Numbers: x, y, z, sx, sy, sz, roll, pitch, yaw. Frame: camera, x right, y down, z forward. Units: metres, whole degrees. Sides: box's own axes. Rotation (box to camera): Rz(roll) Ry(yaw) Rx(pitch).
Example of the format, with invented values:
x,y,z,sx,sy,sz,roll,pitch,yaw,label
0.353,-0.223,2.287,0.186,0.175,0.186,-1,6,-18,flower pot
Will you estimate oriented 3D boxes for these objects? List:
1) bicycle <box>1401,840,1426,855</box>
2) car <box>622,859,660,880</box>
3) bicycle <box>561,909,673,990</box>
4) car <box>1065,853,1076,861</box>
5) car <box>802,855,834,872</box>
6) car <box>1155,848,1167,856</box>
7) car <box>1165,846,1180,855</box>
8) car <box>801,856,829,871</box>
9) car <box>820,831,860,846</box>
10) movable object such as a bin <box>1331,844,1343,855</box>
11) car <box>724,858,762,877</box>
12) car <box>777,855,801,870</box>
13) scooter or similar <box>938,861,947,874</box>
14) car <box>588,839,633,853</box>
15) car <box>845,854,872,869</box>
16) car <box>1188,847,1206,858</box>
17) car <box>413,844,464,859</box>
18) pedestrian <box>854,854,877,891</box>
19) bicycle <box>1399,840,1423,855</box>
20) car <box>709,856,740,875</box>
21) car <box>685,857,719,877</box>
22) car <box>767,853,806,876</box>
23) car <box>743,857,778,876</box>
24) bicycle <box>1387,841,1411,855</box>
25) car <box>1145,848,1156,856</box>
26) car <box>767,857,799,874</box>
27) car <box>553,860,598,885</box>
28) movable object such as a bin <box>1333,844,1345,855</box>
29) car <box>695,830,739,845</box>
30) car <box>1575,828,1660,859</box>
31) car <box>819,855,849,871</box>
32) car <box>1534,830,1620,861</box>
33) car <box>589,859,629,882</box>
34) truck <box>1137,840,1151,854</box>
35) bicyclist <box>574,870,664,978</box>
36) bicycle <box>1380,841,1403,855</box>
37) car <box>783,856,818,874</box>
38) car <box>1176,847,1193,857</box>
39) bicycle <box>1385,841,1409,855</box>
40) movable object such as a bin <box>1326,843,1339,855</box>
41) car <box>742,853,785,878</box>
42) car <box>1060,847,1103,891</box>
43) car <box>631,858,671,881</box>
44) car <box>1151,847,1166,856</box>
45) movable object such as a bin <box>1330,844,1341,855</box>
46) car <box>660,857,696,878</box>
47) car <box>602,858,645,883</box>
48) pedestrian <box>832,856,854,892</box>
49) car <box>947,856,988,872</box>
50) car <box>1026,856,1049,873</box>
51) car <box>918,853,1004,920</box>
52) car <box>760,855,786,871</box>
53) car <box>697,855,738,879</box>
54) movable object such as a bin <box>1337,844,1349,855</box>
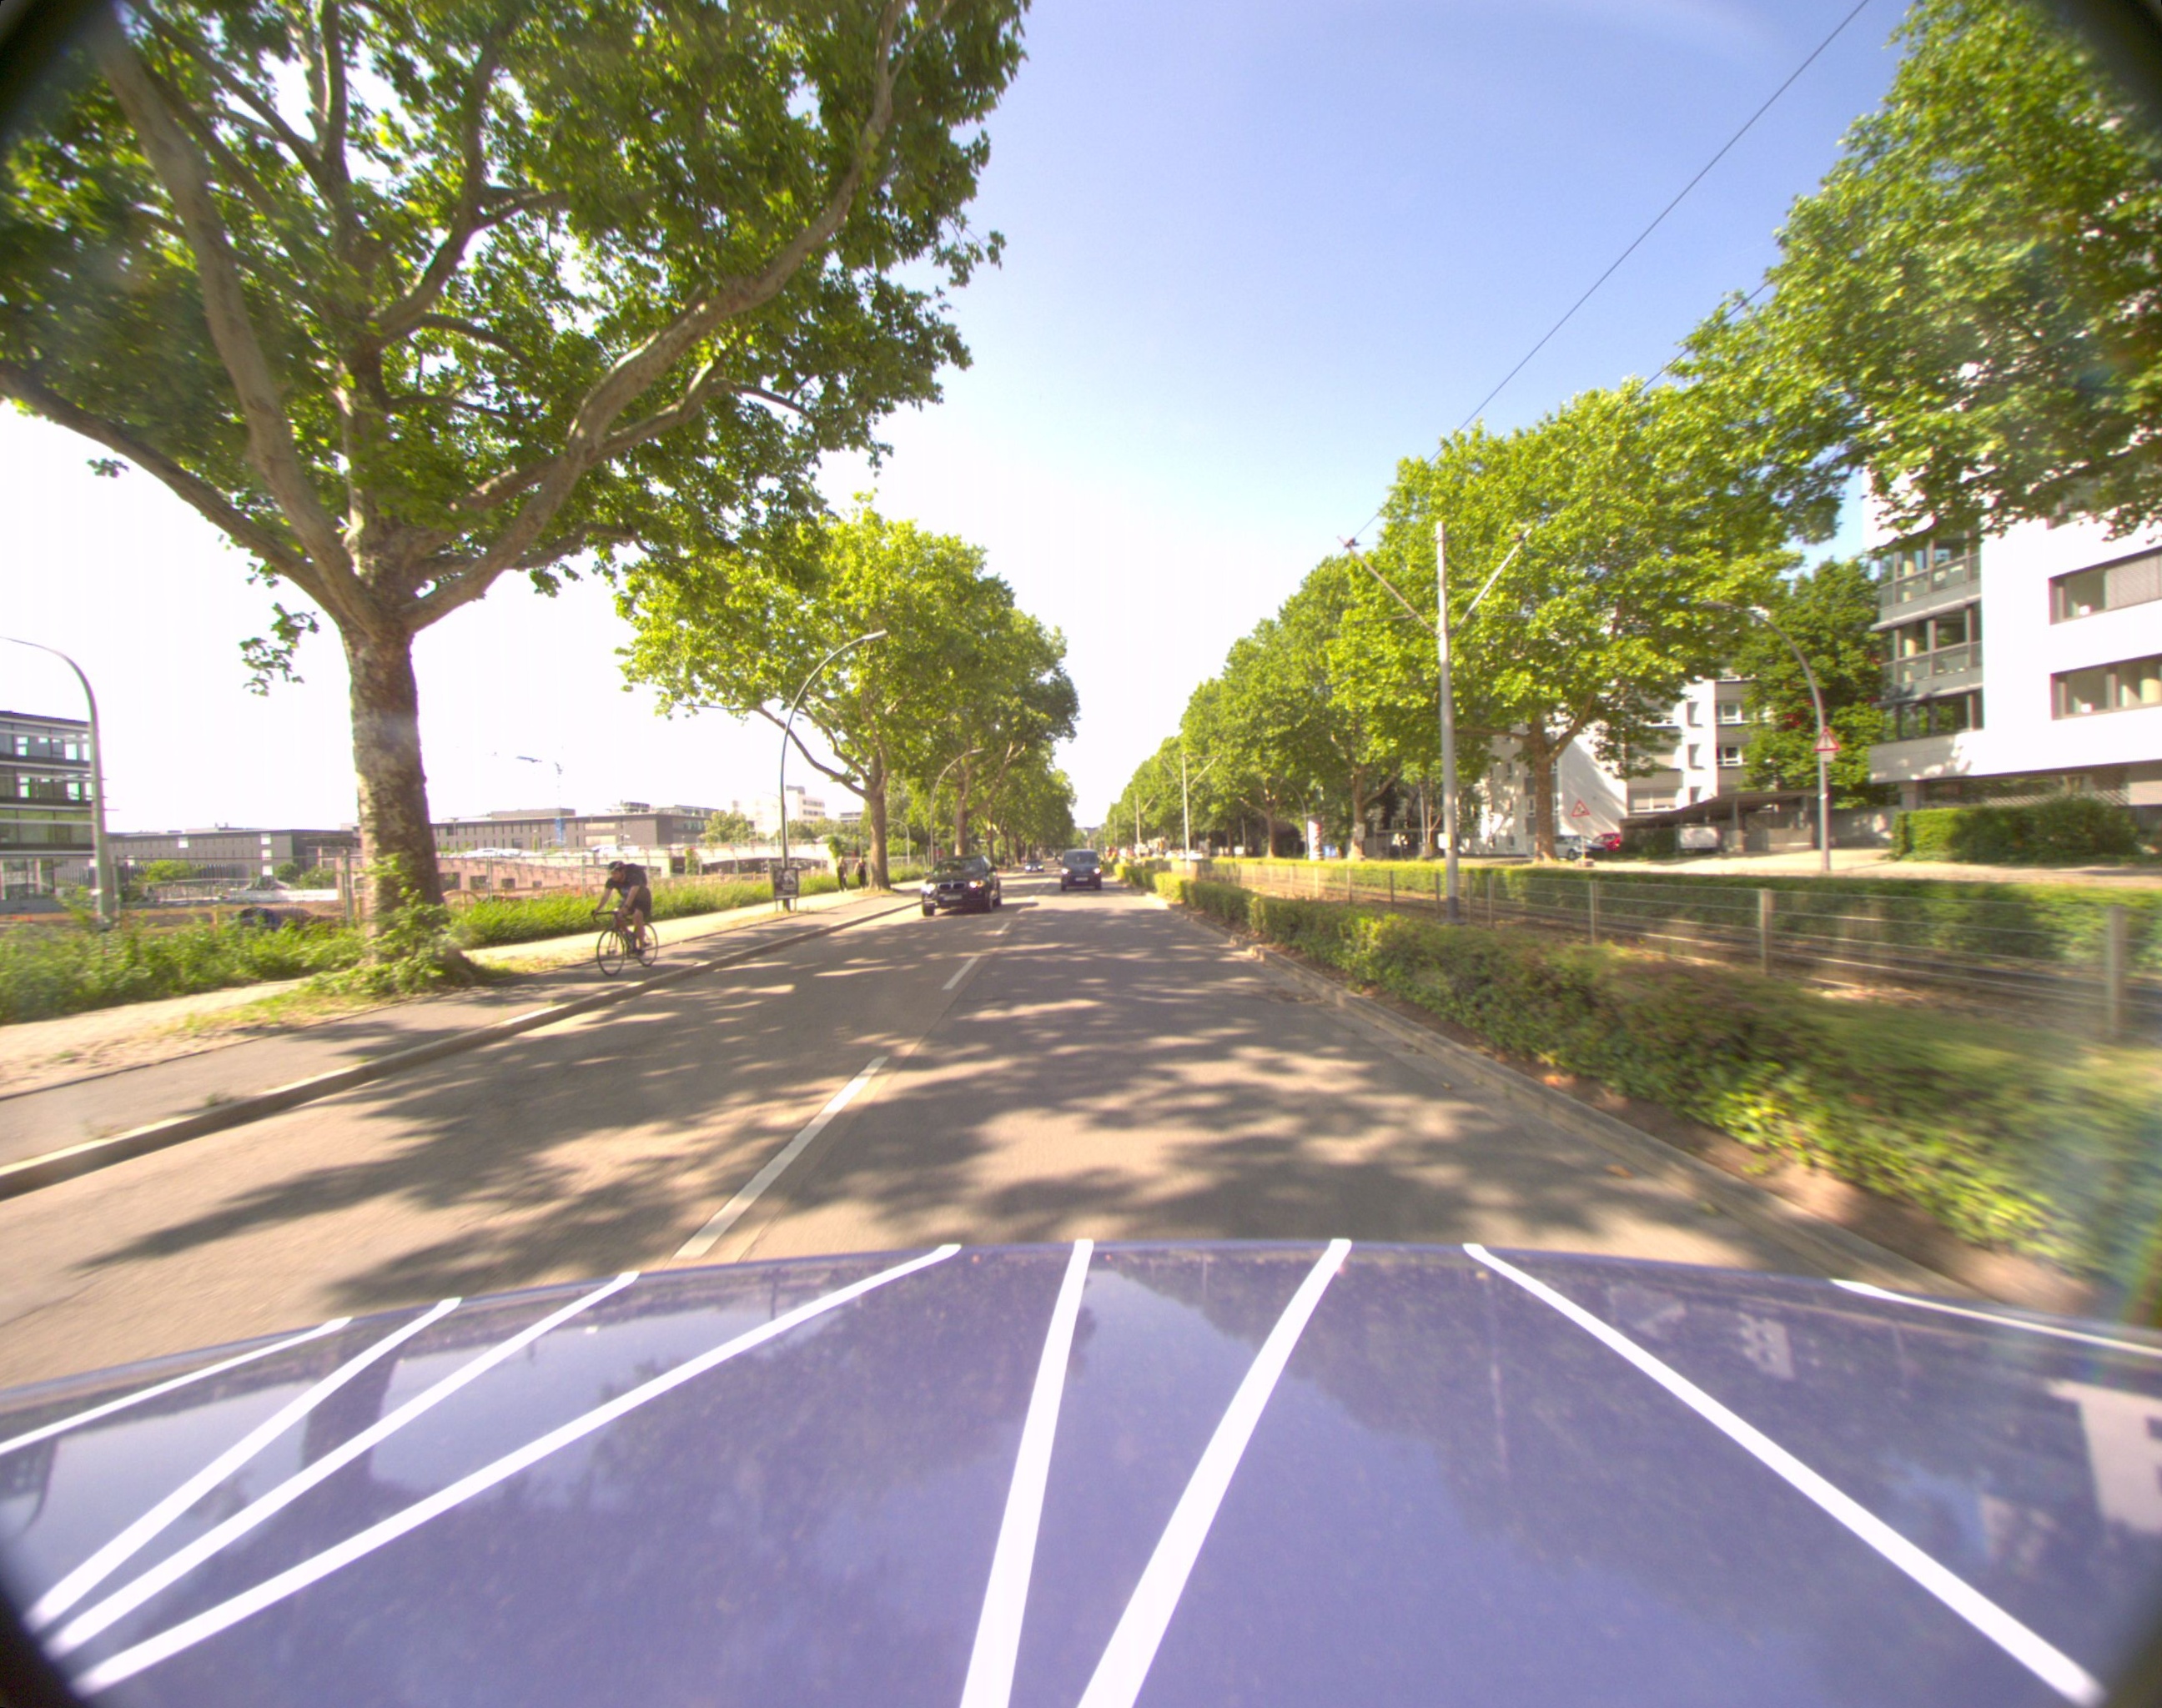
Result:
x,y,z,sx,sy,sz,roll,pitch,yaw,label
26.525,-0.492,60.569,1.770,1.096,0.421,-3,1,-1,bicycle
-61.224,2.117,105.728,3.998,2.723,1.808,-3,1,-3,car
-6.805,1.371,11.252,0.599,0.974,1.781,0,0,-1,bicycle
-2.047,0.627,145.348,1.854,1.419,4.152,-3,0,2,car
-39.199,1.463,113.372,3.998,2.308,1.808,-3,1,-3,car
14.987,-0.435,142.608,1.701,1.406,3.891,-5,0,-1,car
15.642,-0.526,129.980,1.860,1.445,3.999,-2,0,-1,car
-44.405,1.564,126.769,3.998,2.308,1.808,-3,1,-3,car
-28.137,-1.777,88.699,3.998,1.501,1.808,-3,0,-3,car
24.905,-0.447,73.936,0.898,1.031,0.546,-3,1,-1,movable object such as a bin
-44.223,1.743,99.475,3.998,2.308,1.808,-3,1,-3,car
-56.636,1.664,147.431,3.998,2.723,1.808,-3,1,-3,car
-12.090,1.171,66.193,0.483,1.115,1.128,-3,0,1,scooter or similar
-54.632,-0.929,88.276,3.998,1.501,1.808,-3,0,-3,car
-39.213,1.323,133.990,3.998,2.308,1.808,-3,1,-3,car
15.758,-0.207,103.564,1.820,1.482,3.912,0,0,-1,car
-72.182,-0.250,85.406,3.998,1.501,1.808,-3,0,-3,car
-10.279,0.885,36.252,0.711,1.714,1.066,-3,1,-1,pedestrian
26.509,-0.495,61.066,1.770,1.096,0.421,-3,1,-1,bicycle
-56.172,1.836,119.730,3.998,2.723,1.808,-3,1,-3,car
-56.262,1.886,112.860,3.998,2.723,1.808,-3,1,-3,car
-38.588,1.345,99.578,4.375,2.723,1.808,-3,1,-3,car
-44.322,1.709,105.028,3.998,2.308,1.808,-3,1,-3,car
26.342,-0.501,62.948,1.770,1.096,0.421,-3,1,-1,bicycle
14.238,-0.368,156.284,1.701,1.406,3.891,-5,0,-1,car
-44.370,1.655,113.246,3.998,2.308,1.808,-3,1,-3,car
-61.170,2.209,91.994,3.998,2.723,1.808,-3,1,-3,car
24.923,-0.443,73.330,0.898,1.031,0.546,-3,1,-1,movable object such as a bin
-41.169,-1.820,85.931,3.998,1.501,1.808,-3,0,-3,car
29.247,-0.562,41.571,1.747,1.541,3.999,-3,0,-1,car
-39.044,1.410,120.265,3.998,2.308,1.808,-3,1,-3,car
26.771,-0.431,41.220,1.747,1.541,4.348,-3,0,-1,car
-61.319,2.169,98.734,3.998,2.723,1.808,-3,1,-3,car
15.063,-1.591,181.805,2.752,3.259,6.540,-3,0,-1,truck
-6.801,0.990,11.246,0.600,1.481,1.214,0,0,-1,bicyclist
26.357,-0.512,64.496,1.770,1.096,0.421,-3,1,-1,bicycle
-38.886,1.506,105.335,3.998,2.308,1.808,-3,1,-3,car
16.127,-0.301,118.552,1.856,1.445,3.999,-3,0,-1,car
26.370,-0.506,63.410,1.770,1.096,0.421,-3,1,-1,bicycle
24.919,-0.487,75.363,0.898,1.182,1.099,-3,0,-1,movable object such as a bin
-38.636,1.395,92.546,4.375,2.723,1.808,-3,1,-3,car
0.078,0.619,34.384,1.789,1.839,4.000,-1,1,2,car
-56.008,1.971,99.046,3.998,2.723,1.808,-3,1,-3,car
12.549,-0.428,122.912,1.860,1.445,3.999,-3,0,-1,car
24.934,-0.452,74.502,0.898,1.031,0.546,-3,1,-1,movable object such as a bin
-56.159,1.929,105.930,3.998,2.723,1.808,-3,1,-3,car
-55.398,1.996,92.026,3.998,2.723,1.808,-3,1,-3,car
-11.382,0.942,36.410,0.697,1.673,0.959,-3,1,-1,pedestrian
-11.483,1.024,76.602,3.989,1.400,1.900,-2,0,41,car
-4.274,1.019,75.373,1.854,1.419,4.152,-3,0,2,car
-3.517,0.902,23.018,1.924,1.720,4.151,-4,0,-1,car
-56.859,1.721,140.393,3.998,2.723,1.808,-3,1,-3,car
-44.201,1.582,92.529,3.998,2.723,1.808,-3,1,-3,car
24.859,-0.433,72.209,0.898,1.031,0.546,-3,1,-1,movable object such as a bin
